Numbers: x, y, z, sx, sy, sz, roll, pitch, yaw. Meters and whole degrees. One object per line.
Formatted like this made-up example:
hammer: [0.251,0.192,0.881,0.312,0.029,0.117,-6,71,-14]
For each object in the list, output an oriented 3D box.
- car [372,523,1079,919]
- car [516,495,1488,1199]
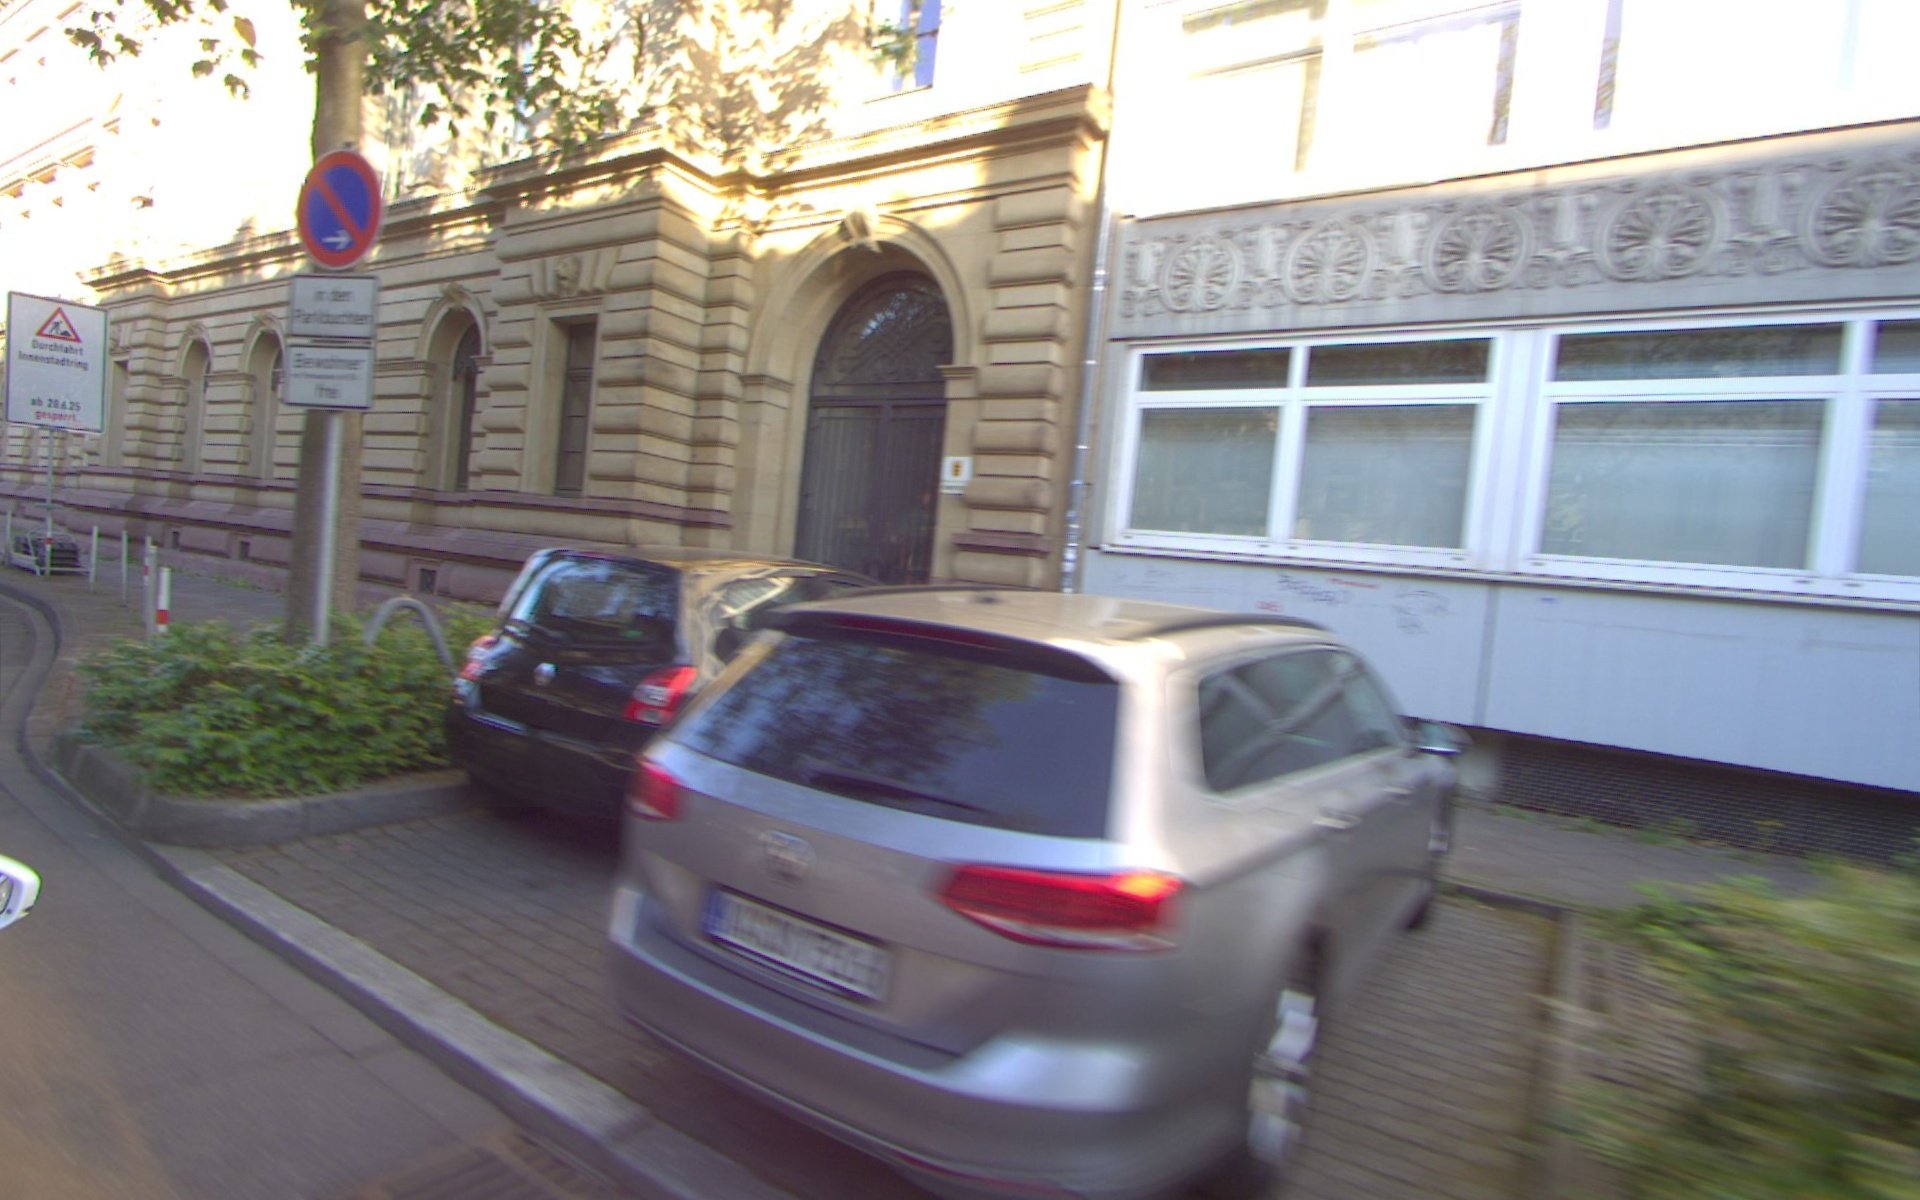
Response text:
car: [-0.983,0.463,6.338,1.802,1.484,4.357,6,3,29]
car: [0.799,0.599,3.867,1.645,1.516,4.354,7,3,33]
